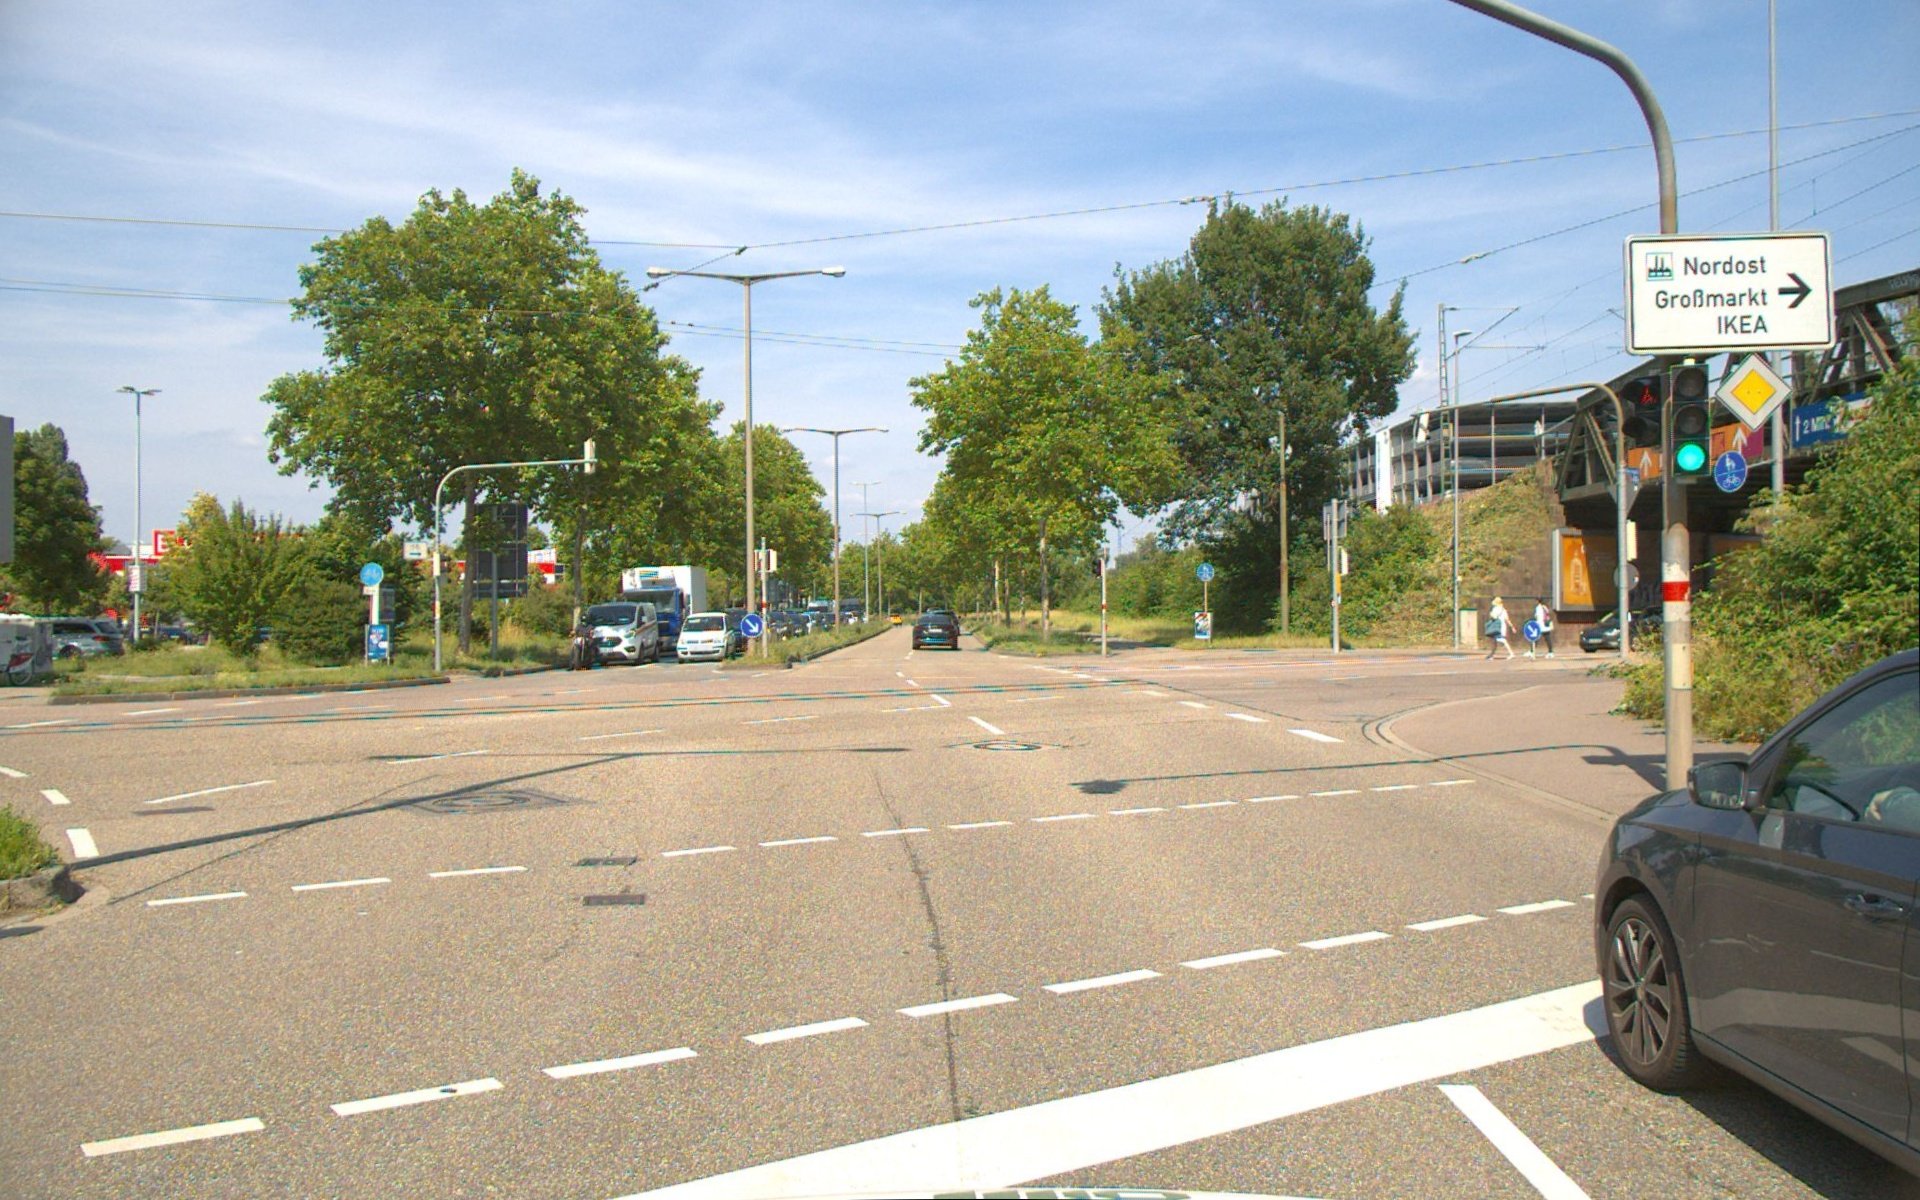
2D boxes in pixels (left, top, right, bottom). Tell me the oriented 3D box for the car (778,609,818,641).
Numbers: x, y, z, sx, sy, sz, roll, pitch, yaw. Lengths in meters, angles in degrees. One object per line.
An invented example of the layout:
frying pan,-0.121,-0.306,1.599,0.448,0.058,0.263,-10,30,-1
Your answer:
car,-8.270,1.263,84.721,1.654,1.497,3.814,-2,0,-1

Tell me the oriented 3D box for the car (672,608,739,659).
car,-8.030,1.030,52.427,1.560,1.503,3.728,-2,0,-1

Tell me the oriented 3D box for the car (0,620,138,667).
car,-29.702,1.411,54.186,4.476,1.439,2.197,-1,0,-8

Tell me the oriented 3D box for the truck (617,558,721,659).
truck,-11.040,0.291,63.386,2.747,3.532,6.690,-3,0,-1

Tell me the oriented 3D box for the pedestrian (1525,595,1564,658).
pedestrian,15.004,0.678,42.481,0.714,1.607,0.777,-1,0,-1

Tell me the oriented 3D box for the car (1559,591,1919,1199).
car,2.981,0.730,3.809,1.640,1.479,4.034,1,0,-2

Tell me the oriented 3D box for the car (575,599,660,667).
car,-10.934,1.015,53.100,1.937,2.034,5.028,-1,0,-3

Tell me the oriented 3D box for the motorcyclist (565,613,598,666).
motorcyclist,-10.996,1.147,48.057,0.728,1.496,0.987,-1,0,-1

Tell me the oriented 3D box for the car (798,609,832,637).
car,-8.533,1.339,97.411,1.749,1.515,4.209,-2,0,-2

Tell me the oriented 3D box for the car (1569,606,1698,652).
car,22.297,0.925,54.707,4.454,1.433,1.973,0,0,-38

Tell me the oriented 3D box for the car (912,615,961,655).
car,-0.977,1.392,66.308,1.869,1.489,4.619,-1,0,-2

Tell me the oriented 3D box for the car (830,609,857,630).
car,-8.765,1.426,125.035,1.747,1.484,4.471,-2,0,-1

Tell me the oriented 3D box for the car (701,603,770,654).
car,-7.867,1.021,58.286,1.783,1.675,4.692,-2,-1,-1

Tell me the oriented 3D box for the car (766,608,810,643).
car,-8.208,1.203,79.086,1.655,1.499,4.217,-3,0,-1

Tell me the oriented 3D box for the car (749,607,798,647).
car,-8.049,1.142,71.791,1.654,1.614,4.239,-2,0,-1

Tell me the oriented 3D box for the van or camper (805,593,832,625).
van or camper,-12.491,0.781,146.159,1.974,2.633,5.516,-2,0,-1

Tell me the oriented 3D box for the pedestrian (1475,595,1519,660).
pedestrian,13.833,0.700,42.624,0.850,1.640,0.777,-1,0,-1

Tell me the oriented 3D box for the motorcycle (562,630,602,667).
motorcycle,-10.960,1.396,47.962,0.674,1.009,2.217,-1,0,-1

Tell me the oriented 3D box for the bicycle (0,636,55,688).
bicycle,-19.940,1.292,34.681,0.581,1.055,1.897,-1,0,13
